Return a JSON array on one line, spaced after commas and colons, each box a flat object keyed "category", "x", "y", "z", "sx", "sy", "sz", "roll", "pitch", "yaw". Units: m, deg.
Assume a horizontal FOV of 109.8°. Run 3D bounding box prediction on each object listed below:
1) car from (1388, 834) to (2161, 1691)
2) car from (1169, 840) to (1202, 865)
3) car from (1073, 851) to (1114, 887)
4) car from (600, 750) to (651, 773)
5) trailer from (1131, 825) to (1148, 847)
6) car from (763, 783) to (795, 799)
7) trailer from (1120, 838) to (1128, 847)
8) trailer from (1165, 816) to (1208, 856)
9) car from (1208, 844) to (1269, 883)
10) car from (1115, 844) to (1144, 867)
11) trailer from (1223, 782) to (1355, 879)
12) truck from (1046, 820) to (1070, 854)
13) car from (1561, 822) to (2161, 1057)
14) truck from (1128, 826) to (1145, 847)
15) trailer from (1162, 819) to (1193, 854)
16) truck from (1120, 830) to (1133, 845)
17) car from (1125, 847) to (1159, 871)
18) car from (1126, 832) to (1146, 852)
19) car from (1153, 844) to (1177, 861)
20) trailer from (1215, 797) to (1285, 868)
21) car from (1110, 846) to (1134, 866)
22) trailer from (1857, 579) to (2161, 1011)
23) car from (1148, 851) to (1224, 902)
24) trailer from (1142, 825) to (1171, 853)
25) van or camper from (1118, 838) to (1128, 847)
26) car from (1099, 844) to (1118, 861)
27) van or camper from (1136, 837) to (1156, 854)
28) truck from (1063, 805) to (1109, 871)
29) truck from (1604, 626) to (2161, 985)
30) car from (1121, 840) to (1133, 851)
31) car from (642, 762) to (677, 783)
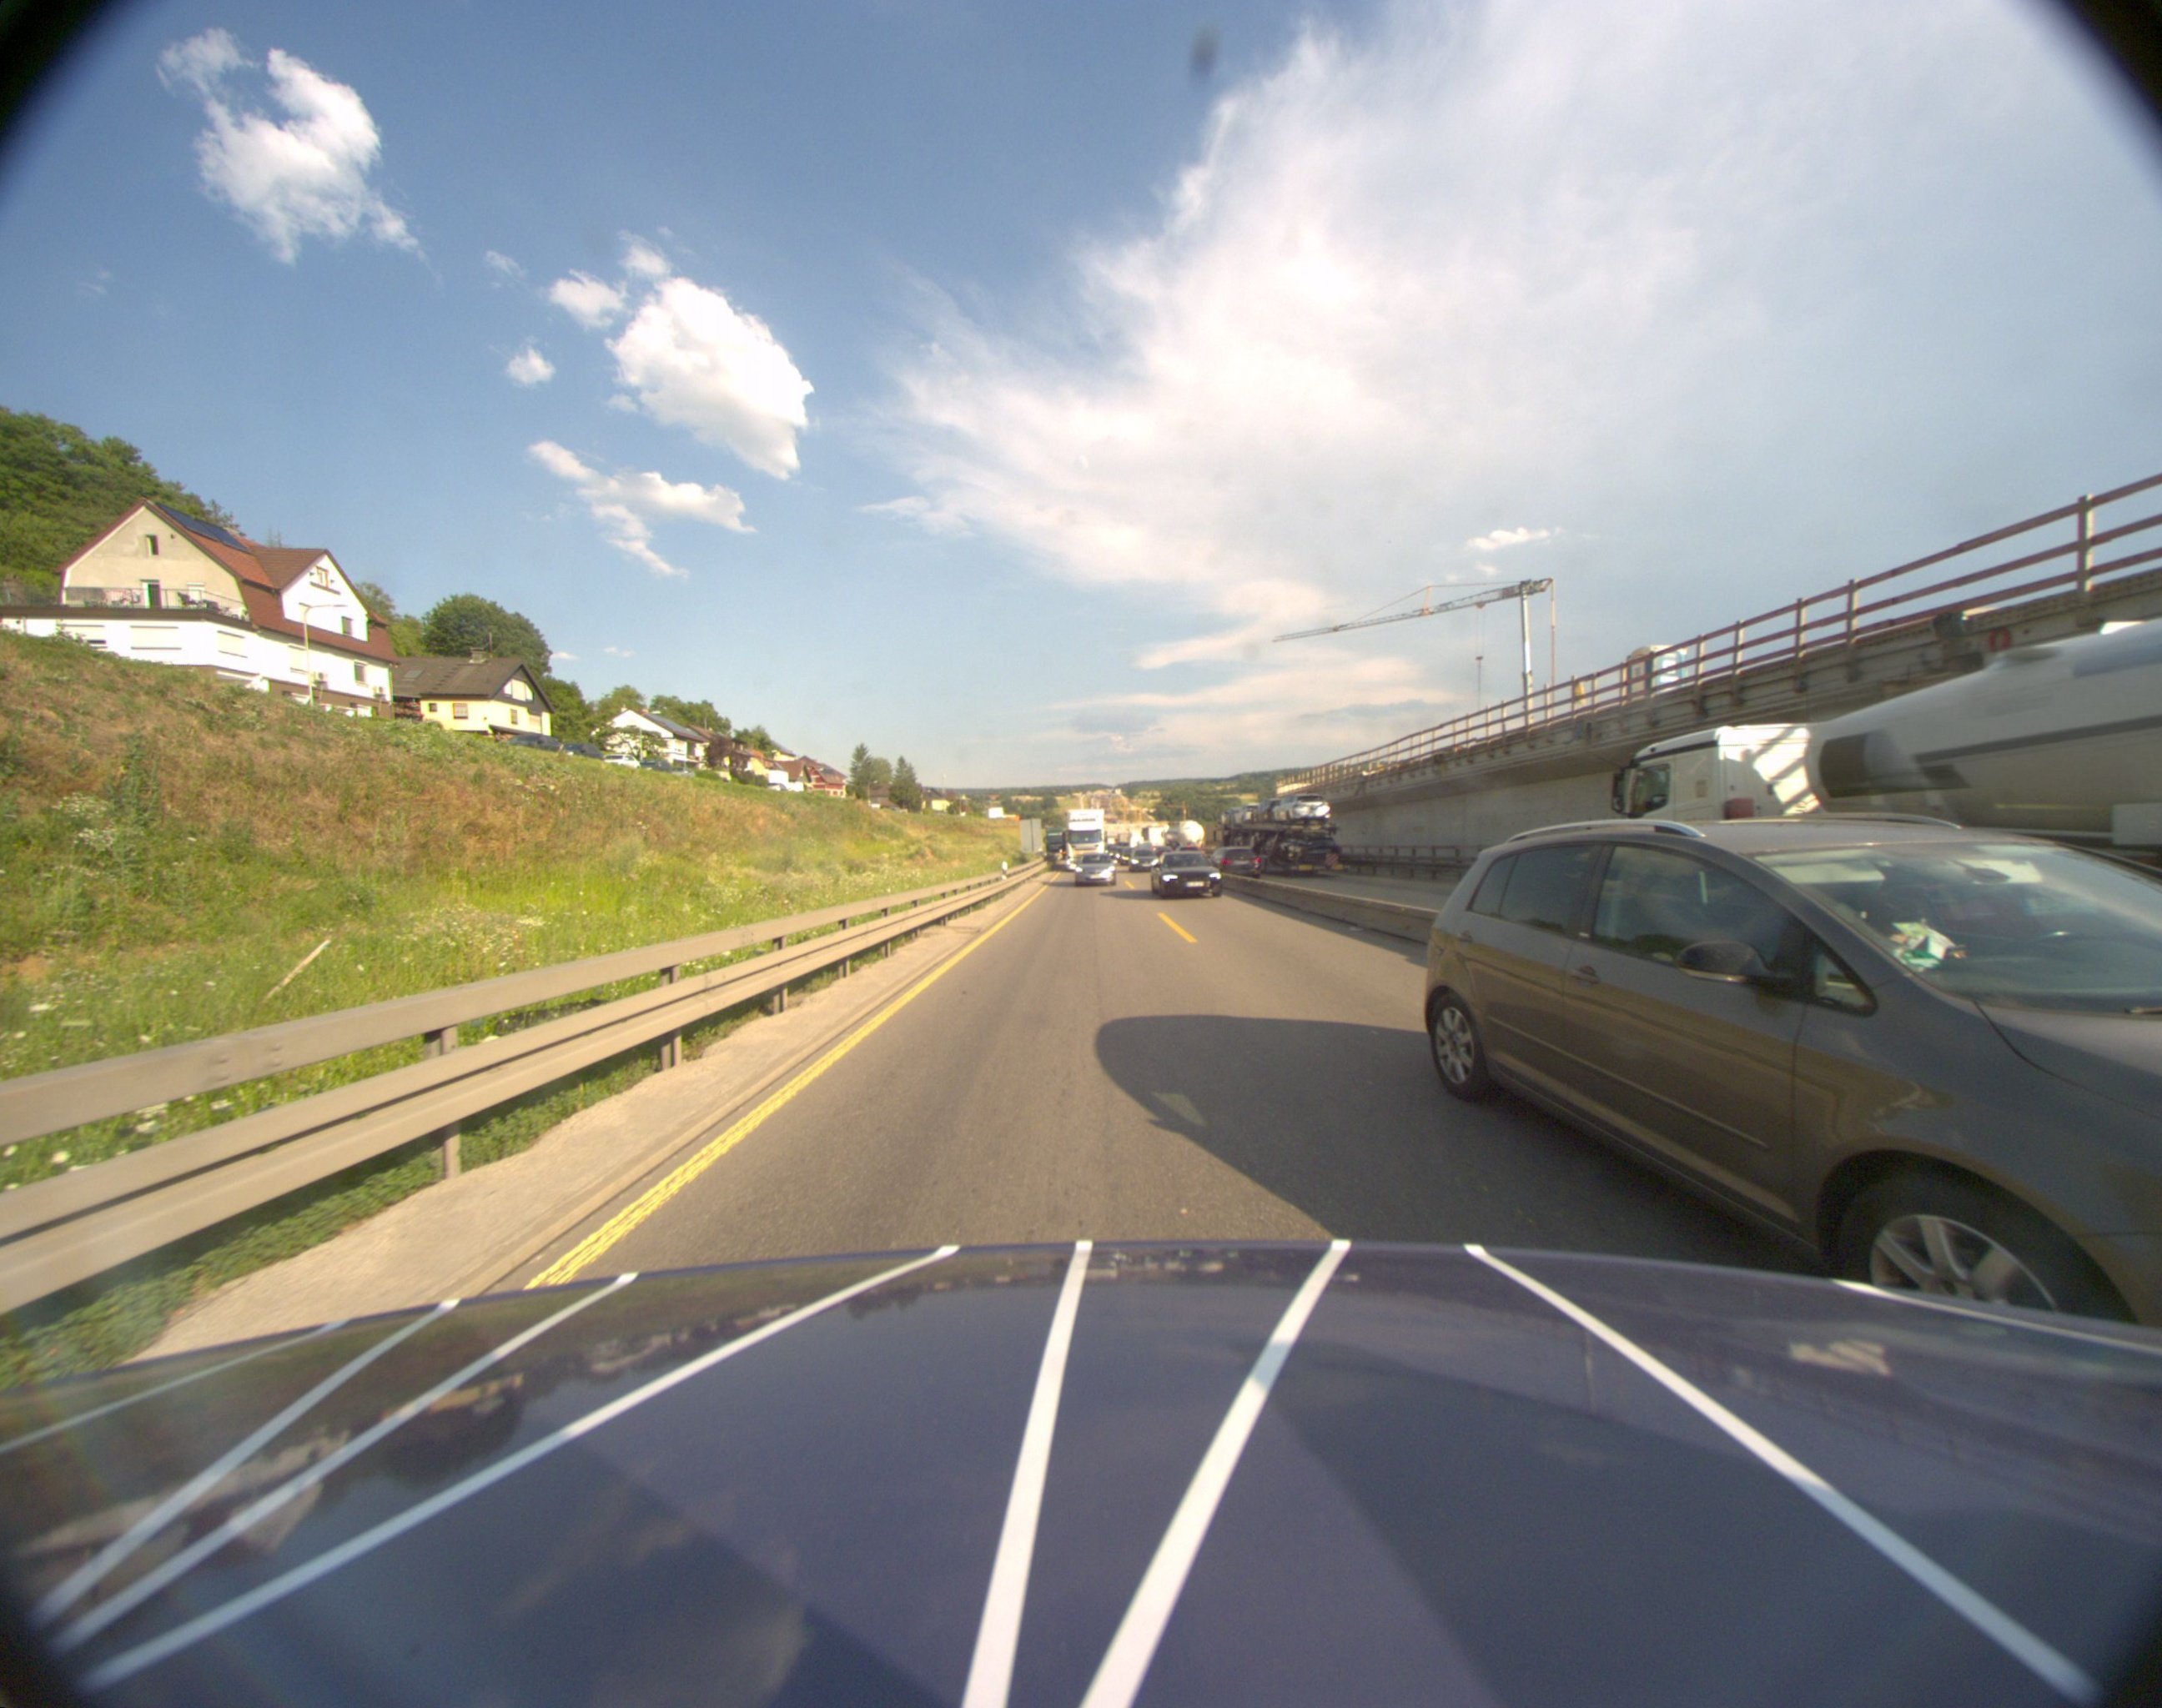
[{"category": "car", "x": 2.877, "y": 0.732, "z": 2.919, "sx": 1.685, "sy": 1.579, "sz": 4.270, "roll": -1, "pitch": 2, "yaw": 0}, {"category": "car", "x": 7.331, "y": -0.137, "z": 53.634, "sx": 1.761, "sy": 1.569, "sz": 4.338, "roll": -2, "pitch": 1, "yaw": 1}, {"category": "car", "x": 0.540, "y": 0.610, "z": 33.702, "sx": 1.671, "sy": 1.425, "sz": 3.523, "roll": -1, "pitch": 1, "yaw": 0}, {"category": "car", "x": -32.082, "y": -6.502, "z": 53.583, "sx": 1.347, "sy": 1.225, "sz": 3.898, "roll": -2, "pitch": 1, "yaw": -3}, {"category": "trailer", "x": 11.802, "y": -3.577, "z": 154.027, "sx": 2.834, "sy": 4.259, "sz": 8.733, "roll": -2, "pitch": 1, "yaw": 1}, {"category": "car", "x": -34.410, "y": -7.196, "z": 86.756, "sx": 1.998, "sy": 1.434, "sz": 3.999, "roll": -2, "pitch": 1, "yaw": 1}, {"category": "trailer", "x": 8.569, "y": -2.342, "z": 152.951, "sx": 1.452, "sy": 1.843, "sz": 2.983, "roll": -2, "pitch": 1, "yaw": 1}, {"category": "trailer", "x": 11.100, "y": -1.908, "z": 81.610, "sx": 2.659, "sy": 3.828, "sz": 13.439, "roll": -2, "pitch": 1, "yaw": 0}, {"category": "car", "x": 6.967, "y": 0.368, "z": 34.097, "sx": 1.770, "sy": 1.543, "sz": 4.835, "roll": -2, "pitch": 1, "yaw": 1}, {"category": "car", "x": 3.769, "y": 0.094, "z": 59.651, "sx": 1.998, "sy": 1.740, "sz": 3.999, "roll": -1, "pitch": 1, "yaw": 0}, {"category": "trailer", "x": 10.333, "y": -1.168, "z": 40.197, "sx": 2.778, "sy": 4.008, "sz": 15.760, "roll": -2, "pitch": 1, "yaw": 1}, {"category": "truck", "x": -2.778, "y": -2.117, "z": 95.236, "sx": 2.547, "sy": 3.993, "sz": 6.070, "roll": -2, "pitch": 1, "yaw": 1}, {"category": "car", "x": 6.859, "y": 0.574, "z": 7.326, "sx": 1.730, "sy": 1.548, "sz": 4.297, "roll": -2, "pitch": 0, "yaw": 0}, {"category": "truck", "x": 11.916, "y": -3.828, "z": 163.389, "sx": 2.834, "sy": 4.239, "sz": 10.070, "roll": -2, "pitch": 1, "yaw": 1}, {"category": "trailer", "x": 11.139, "y": -2.040, "z": 87.875, "sx": 2.659, "sy": 3.828, "sz": 6.427, "roll": -2, "pitch": 1, "yaw": 0}, {"category": "truck", "x": 12.337, "y": -4.528, "z": 206.442, "sx": 2.873, "sy": 4.038, "sz": 7.597, "roll": -2, "pitch": 1, "yaw": 1}, {"category": "car", "x": 3.684, "y": 0.285, "z": 46.591, "sx": 1.692, "sy": 1.294, "sz": 3.882, "roll": -2, "pitch": 1, "yaw": -1}, {"category": "car", "x": 7.681, "y": -1.694, "z": 107.288, "sx": 1.999, "sy": 2.608, "sz": 7.407, "roll": -2, "pitch": 1, "yaw": -1}, {"category": "car", "x": 7.707, "y": -0.159, "z": 69.750, "sx": 1.713, "sy": 1.437, "sz": 4.599, "roll": -2, "pitch": 1, "yaw": 1}, {"category": "trailer", "x": 10.425, "y": -1.325, "z": 47.526, "sx": 2.778, "sy": 4.008, "sz": 7.206, "roll": -2, "pitch": 1, "yaw": 1}, {"category": "car", "x": 3.708, "y": 0.185, "z": 68.884, "sx": 1.918, "sy": 1.746, "sz": 3.999, "roll": -1, "pitch": 0, "yaw": 0}, {"category": "trailer", "x": 10.032, "y": -0.455, "z": 3.282, "sx": 2.563, "sy": 3.506, "sz": 10.679, "roll": -2, "pitch": 1, "yaw": 1}, {"category": "car", "x": 3.290, "y": 0.653, "z": 24.625, "sx": 1.873, "sy": 1.411, "sz": 4.348, "roll": -1, "pitch": 1, "yaw": 0}, {"category": "trailer", "x": 11.501, "y": -2.371, "z": 117.783, "sx": 2.933, "sy": 4.014, "sz": 13.770, "roll": -2, "pitch": 1, "yaw": 0}, {"category": "van or camper", "x": 8.613, "y": -2.427, "z": 156.941, "sx": 1.868, "sy": 1.882, "sz": 5.002, "roll": -2, "pitch": 1, "yaw": 1}, {"category": "car", "x": 3.021, "y": -0.158, "z": 84.154, "sx": 1.918, "sy": 1.746, "sz": 3.999, "roll": -1, "pitch": 0, "yaw": 0}, {"category": "van or camper", "x": 7.875, "y": -1.053, "z": 92.162, "sx": 1.863, "sy": 2.002, "sz": 5.294, "roll": -2, "pitch": 1, "yaw": -1}, {"category": "truck", "x": 0.414, "y": -1.153, "z": 54.508, "sx": 2.741, "sy": 4.033, "sz": 12.668, "roll": -2, "pitch": 1, "yaw": 1}, {"category": "truck", "x": 10.133, "y": -0.531, "z": 10.080, "sx": 2.555, "sy": 3.390, "sz": 5.530, "roll": -2, "pitch": 1, "yaw": 0}, {"category": "car", "x": 8.049, "y": -1.552, "z": 133.708, "sx": 1.785, "sy": 1.833, "sz": 4.852, "roll": -2, "pitch": 1, "yaw": 1}, {"category": "car", "x": -32.788, "y": -6.314, "z": 59.135, "sx": 1.348, "sy": 1.315, "sz": 3.340, "roll": -2, "pitch": 1, "yaw": -11}]
